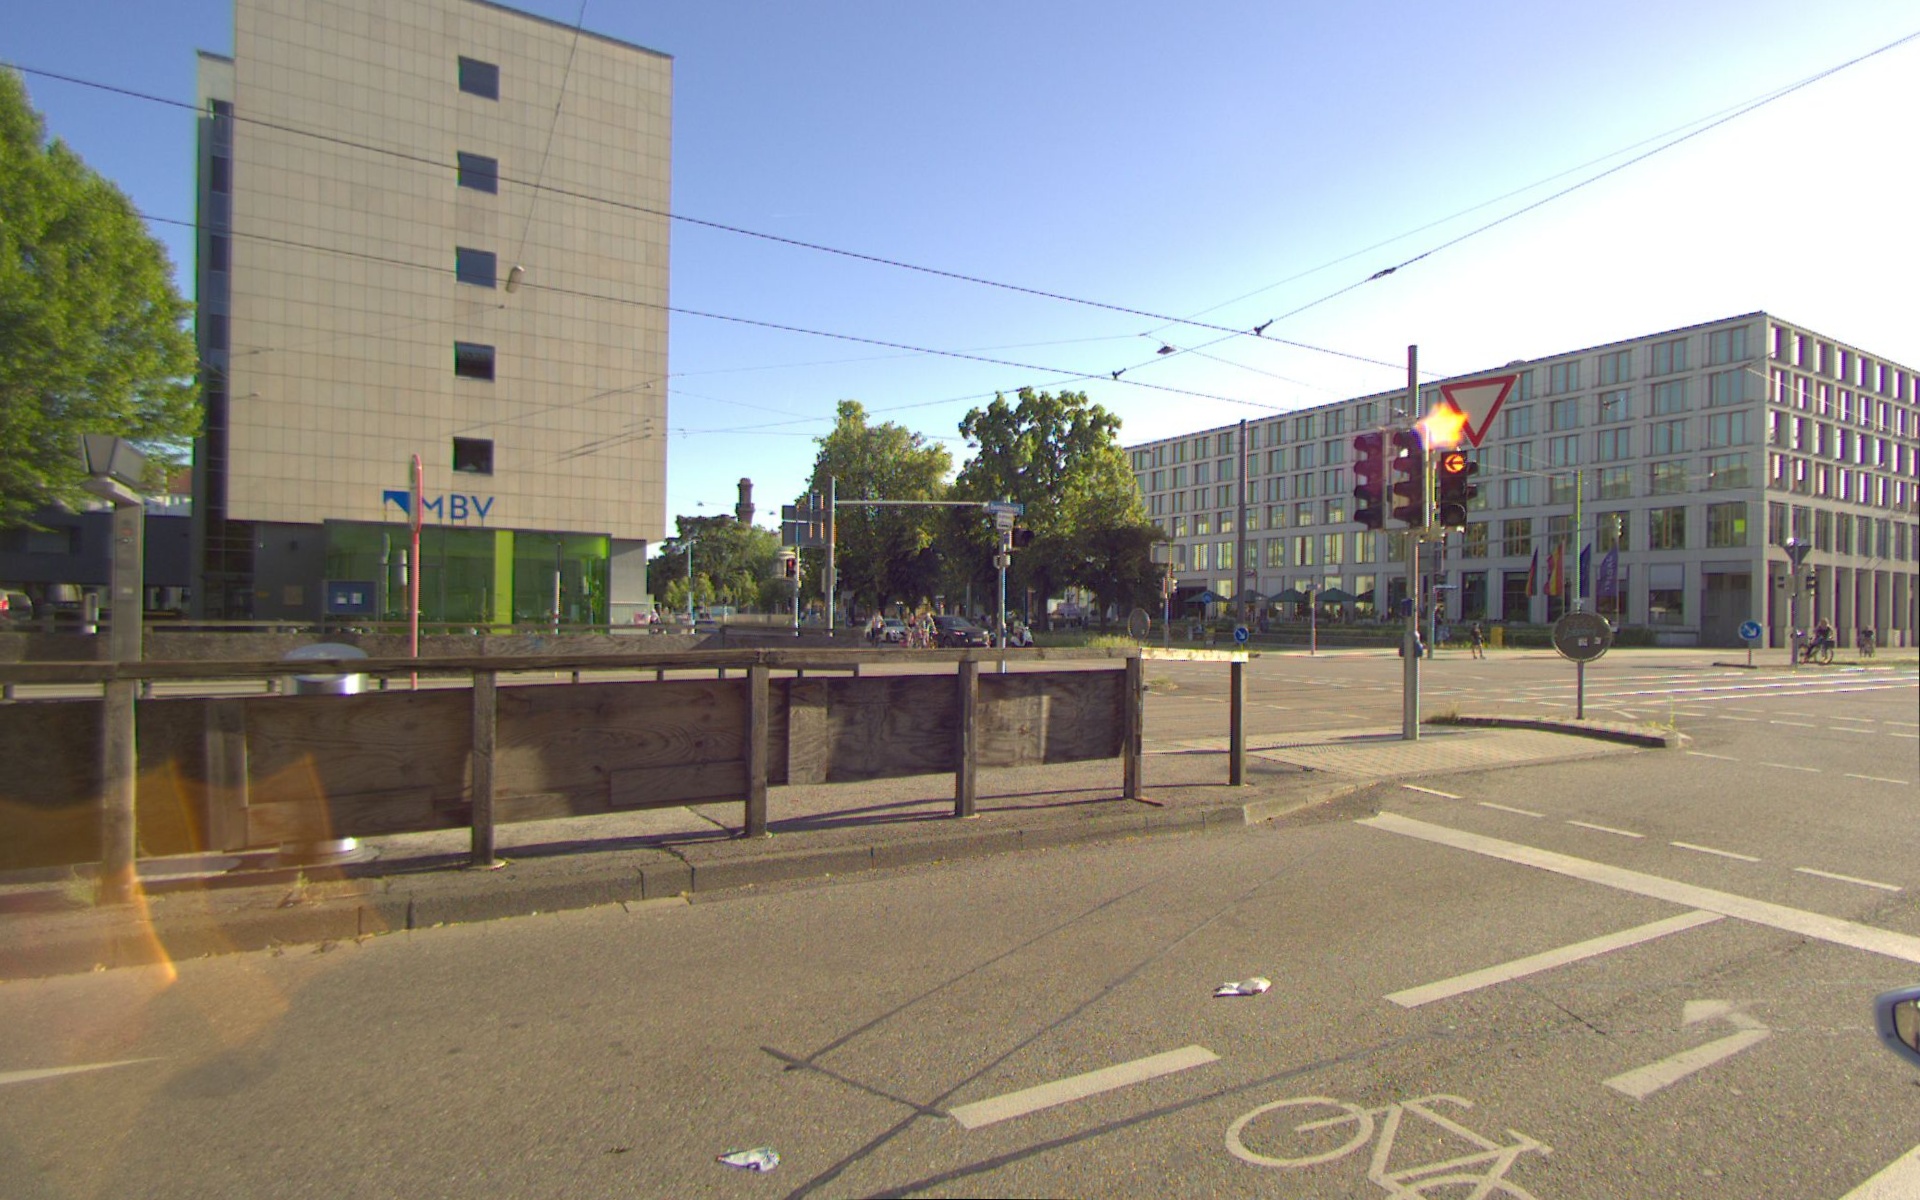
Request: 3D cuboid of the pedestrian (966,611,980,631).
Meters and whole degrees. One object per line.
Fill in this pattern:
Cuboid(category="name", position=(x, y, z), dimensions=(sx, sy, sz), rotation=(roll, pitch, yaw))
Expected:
Cuboid(category="pedestrian", position=(1.113, 1.816, 86.483), dimensions=(0.858, 1.738, 0.737), rotation=(2, 0, -26))

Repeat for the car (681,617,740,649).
Cuboid(category="car", position=(-12.892, 1.691, 51.707), dimensions=(1.975, 1.472, 4.179), rotation=(2, 0, -28))

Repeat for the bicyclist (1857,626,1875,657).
Cuboid(category="bicyclist", position=(45.219, 2.055, 50.143), dimensions=(0.658, 1.518, 0.492), rotation=(1, -1, -28))

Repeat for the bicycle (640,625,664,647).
Cuboid(category="bicycle", position=(-15.826, 1.835, 51.592), dimensions=(0.802, 1.047, 2.111), rotation=(1, -1, -28))

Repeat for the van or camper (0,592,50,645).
Cuboid(category="van or camper", position=(-27.911, 0.416, 27.553), dimensions=(3.954, 1.425, 1.954), rotation=(4, -3, -30))

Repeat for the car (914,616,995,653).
Cuboid(category="car", position=(-0.306, 1.525, 44.666), dimensions=(1.925, 1.561, 3.969), rotation=(2, -2, -29))

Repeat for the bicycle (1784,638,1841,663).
Cuboid(category="bicycle", position=(30.976, 1.820, 36.539), dimensions=(0.562, 0.834, 1.718), rotation=(1, -1, -2))

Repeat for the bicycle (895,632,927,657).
Cuboid(category="bicycle", position=(-2.059, 1.856, 42.003), dimensions=(0.577, 1.032, 1.806), rotation=(1, -3, -31))

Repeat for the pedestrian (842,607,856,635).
Cuboid(category="pedestrian", position=(-8.170, 1.574, 74.121), dimensions=(0.772, 2.040, 0.747), rotation=(1, -1, -31))

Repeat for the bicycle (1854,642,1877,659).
Cuboid(category="bicycle", position=(45.238, 2.513, 50.154), dimensions=(1.142, 0.850, 0.492), rotation=(1, -1, -28))

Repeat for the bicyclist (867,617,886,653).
Cuboid(category="bicyclist", position=(-3.890, 1.610, 46.588), dimensions=(0.576, 1.658, 0.890), rotation=(1, -1, -27))

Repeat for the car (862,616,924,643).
Cuboid(category="car", position=(-4.028, 1.742, 59.771), dimensions=(1.980, 1.537, 3.962), rotation=(1, -1, -34))

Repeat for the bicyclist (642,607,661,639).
Cuboid(category="bicyclist", position=(-15.870, 1.204, 51.691), dimensions=(0.802, 1.623, 0.677), rotation=(1, -1, -29))

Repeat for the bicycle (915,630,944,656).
Cuboid(category="bicycle", position=(-1.288, 1.811, 42.364), dimensions=(0.576, 1.032, 1.666), rotation=(1, -1, -27))

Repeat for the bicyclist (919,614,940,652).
Cuboid(category="bicyclist", position=(-1.294, 1.386, 42.400), dimensions=(0.576, 1.563, 0.890), rotation=(1, -1, -27))

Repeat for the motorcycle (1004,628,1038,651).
Cuboid(category="motorcycle", position=(2.827, 1.836, 46.938), dimensions=(0.624, 1.030, 1.972), rotation=(-3, 1, -28))

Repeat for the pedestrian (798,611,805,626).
Cuboid(category="pedestrian", position=(-19.377, 2.282, 123.104), dimensions=(0.758, 1.829, 0.624), rotation=(2, 0, -6))

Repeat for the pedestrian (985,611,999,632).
Cuboid(category="pedestrian", position=(2.742, 1.863, 85.879), dimensions=(0.858, 1.738, 0.737), rotation=(2, 0, -26))

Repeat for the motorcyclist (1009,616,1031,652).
Cuboid(category="motorcyclist", position=(2.786, 1.575, 46.968), dimensions=(0.624, 1.601, 0.812), rotation=(-3, 1, -28))

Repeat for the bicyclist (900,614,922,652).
Cuboid(category="bicyclist", position=(-2.054, 1.377, 42.000), dimensions=(0.577, 1.563, 0.833), rotation=(1, -2, -32))

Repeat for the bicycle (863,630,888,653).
Cuboid(category="bicycle", position=(-3.912, 1.934, 46.624), dimensions=(0.576, 1.032, 1.666), rotation=(1, -1, -27))

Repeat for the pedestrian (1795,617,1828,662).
Cuboid(category="pedestrian", position=(30.986, 1.425, 36.574), dimensions=(0.562, 1.616, 0.744), rotation=(1, -1, -3))

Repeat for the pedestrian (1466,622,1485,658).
Cuboid(category="pedestrian", position=(24.960, 1.925, 48.629), dimensions=(0.594, 1.703, 0.606), rotation=(1, -1, 2))

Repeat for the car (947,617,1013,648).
Cuboid(category="car", position=(0.999, 1.673, 52.190), dimensions=(1.674, 1.506, 3.719), rotation=(1, -1, -33))

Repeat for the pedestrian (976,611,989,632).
Cuboid(category="pedestrian", position=(1.987, 1.847, 87.137), dimensions=(0.858, 1.738, 0.737), rotation=(2, 0, -26))
